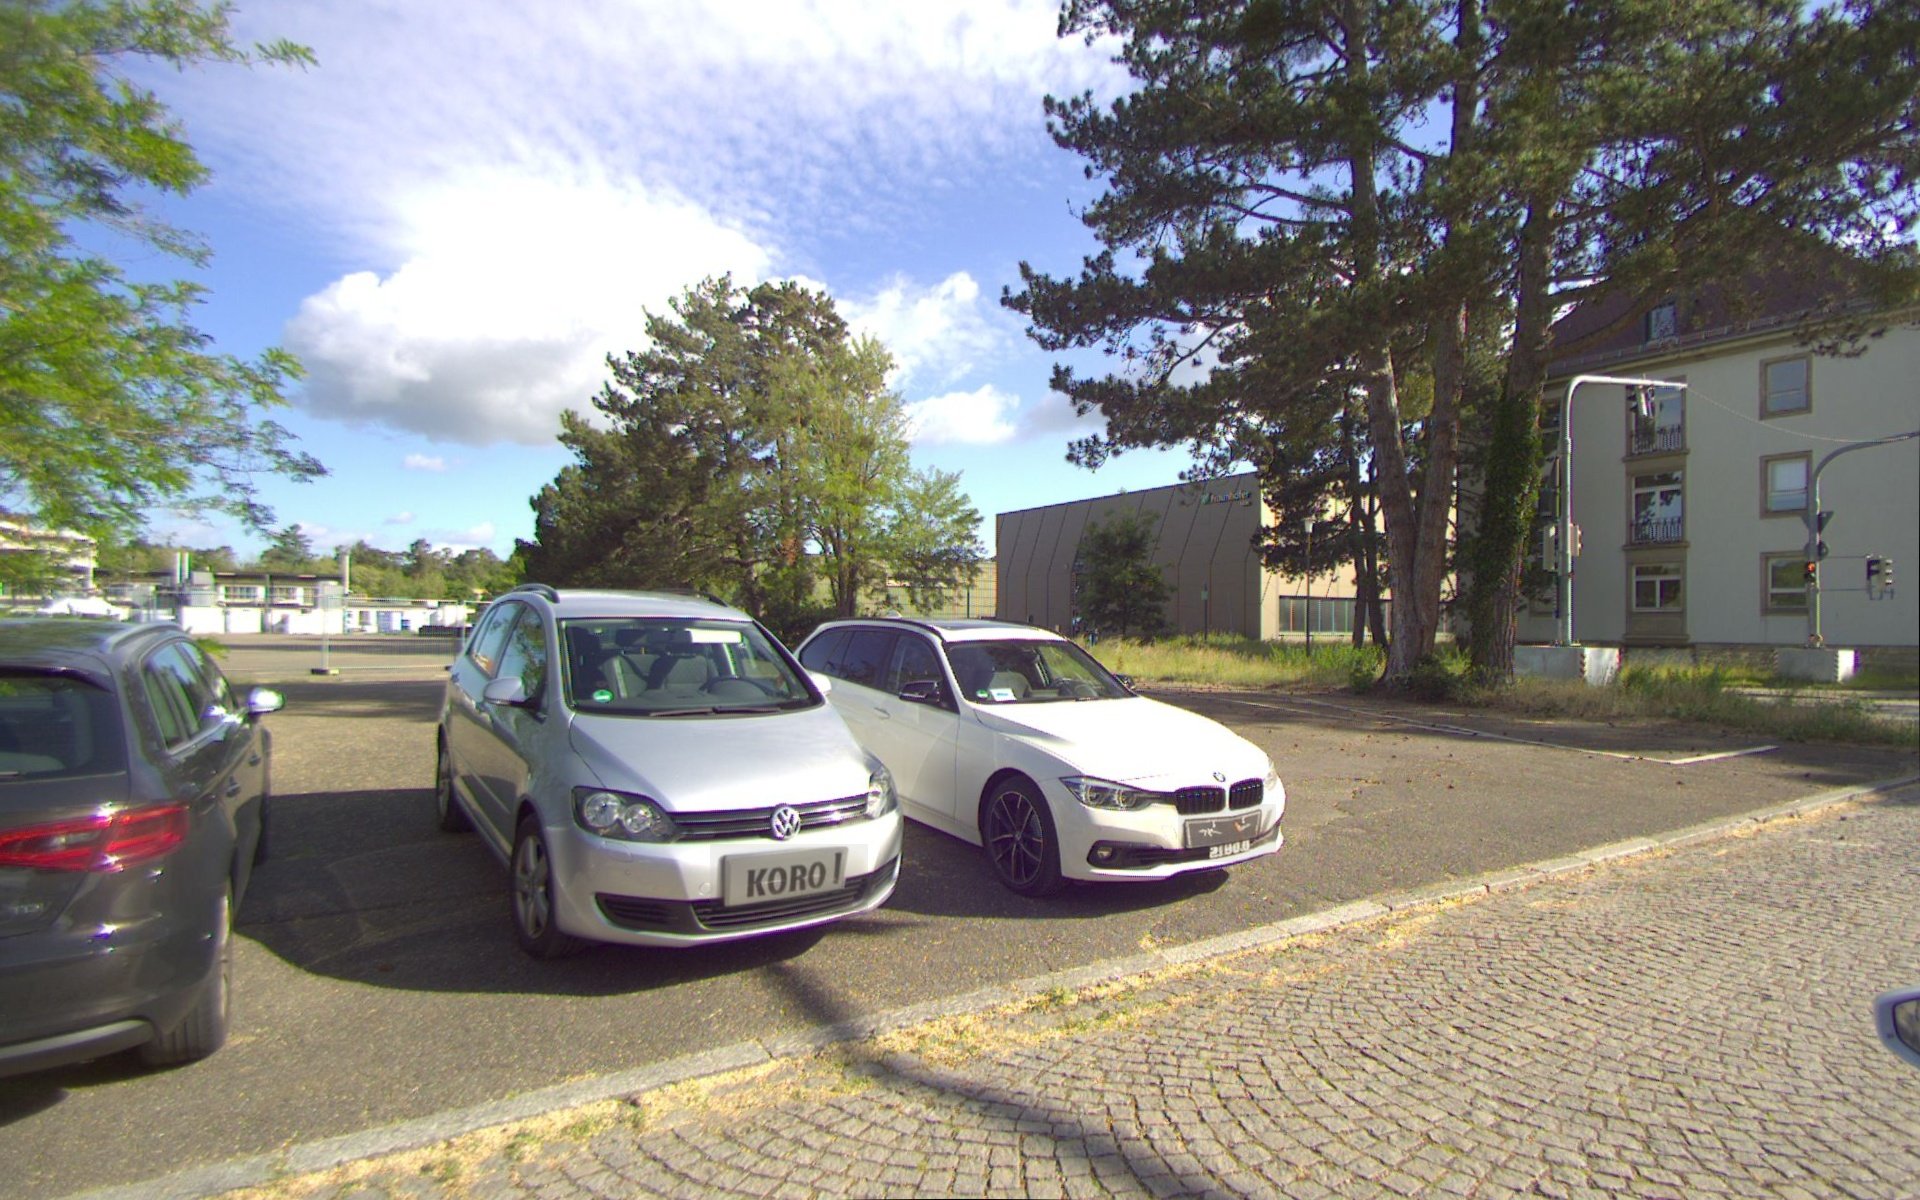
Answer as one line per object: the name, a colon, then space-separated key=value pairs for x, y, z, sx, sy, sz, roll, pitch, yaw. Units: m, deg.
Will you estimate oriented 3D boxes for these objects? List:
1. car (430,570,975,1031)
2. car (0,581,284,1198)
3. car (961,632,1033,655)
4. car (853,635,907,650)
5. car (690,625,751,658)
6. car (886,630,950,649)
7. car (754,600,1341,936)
car: x=-1.771 y=0.701 z=5.743 sx=1.705 sy=1.648 sz=3.916 roll=1 pitch=1 yaw=-35
car: x=-3.756 y=0.718 z=3.955 sx=1.669 sy=1.490 sz=3.775 roll=1 pitch=1 yaw=-32
car: x=2.180 y=2.527 z=58.295 sx=4.002 sy=1.311 sz=1.480 roll=1 pitch=-2 yaw=-30
car: x=-5.807 y=3.061 z=72.773 sx=3.634 sy=1.090 sz=1.399 roll=1 pitch=-2 yaw=-29
car: x=-10.538 y=1.795 z=44.041 sx=1.726 sy=1.388 sz=3.595 roll=1 pitch=-2 yaw=-29
car: x=-2.759 y=2.599 z=66.185 sx=3.951 sy=1.221 sz=1.481 roll=1 pitch=-2 yaw=-29
car: x=0.218 y=0.823 z=7.197 sx=1.734 sy=1.487 sz=4.512 roll=1 pitch=1 yaw=-34
